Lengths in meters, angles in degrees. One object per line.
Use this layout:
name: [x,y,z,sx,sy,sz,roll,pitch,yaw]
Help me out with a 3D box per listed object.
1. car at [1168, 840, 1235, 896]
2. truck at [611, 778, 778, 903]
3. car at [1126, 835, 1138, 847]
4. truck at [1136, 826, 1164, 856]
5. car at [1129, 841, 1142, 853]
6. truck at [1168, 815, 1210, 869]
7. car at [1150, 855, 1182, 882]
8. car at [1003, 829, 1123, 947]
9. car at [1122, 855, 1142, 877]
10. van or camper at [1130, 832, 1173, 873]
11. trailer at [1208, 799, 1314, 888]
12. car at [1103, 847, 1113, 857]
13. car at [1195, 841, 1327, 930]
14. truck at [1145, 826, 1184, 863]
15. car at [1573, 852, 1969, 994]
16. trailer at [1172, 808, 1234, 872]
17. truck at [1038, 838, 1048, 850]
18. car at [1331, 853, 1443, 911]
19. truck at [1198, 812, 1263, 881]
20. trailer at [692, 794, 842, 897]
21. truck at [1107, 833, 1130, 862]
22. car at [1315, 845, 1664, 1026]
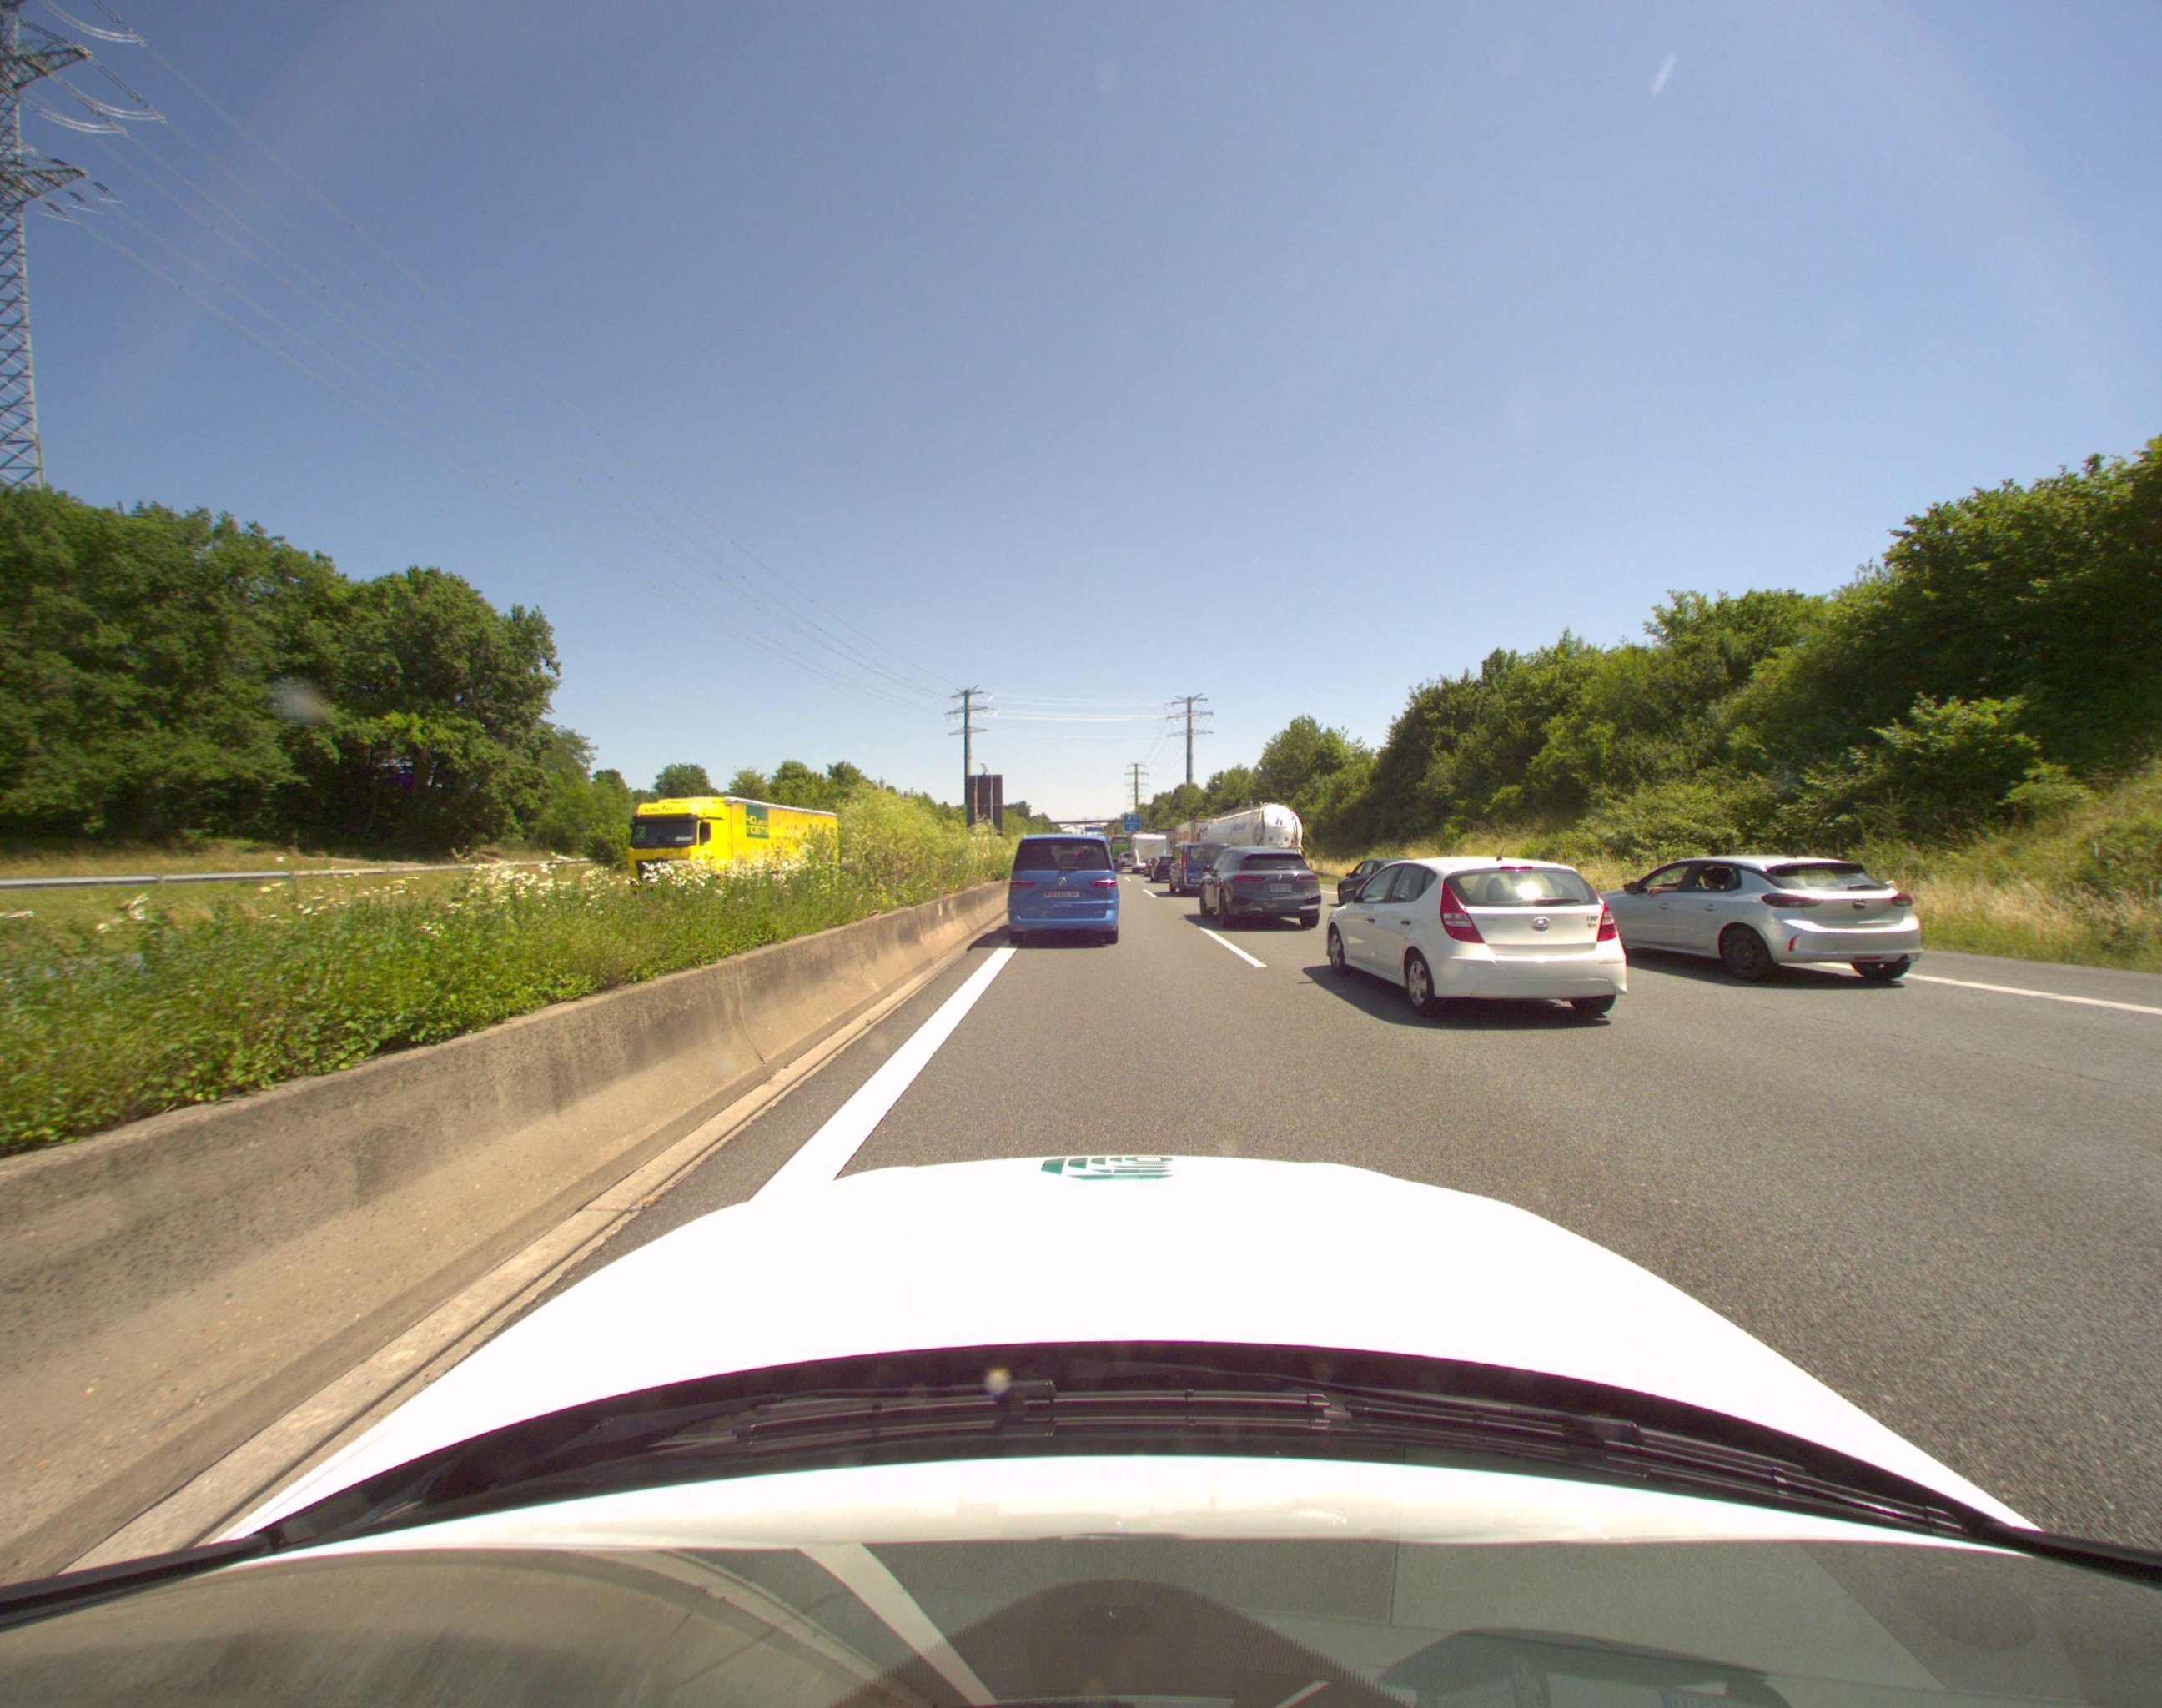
car: [4.482,0.513,30.900,1.917,1.925,4.236,-2,-1,1]
truck: [-14.590,-0.407,31.568,2.768,4.237,7.325,1,-1,1]
car: [9.098,-2.286,145.422,1.987,2.014,4.000,0,-1,0]
truck: [9.447,-1.711,112.911,2.885,3.766,13.347,0,0,1]
car: [9.160,-1.170,136.603,1.987,2.014,4.000,0,-1,0]
truck: [9.243,-0.969,70.432,2.903,4.469,5.141,-1,0,0]
car: [4.665,0.801,45.004,1.355,1.420,3.885,-2,-1,1]
car: [-0.276,0.549,15.216,1.914,1.886,4.000,1,0,0]
car: [4.958,1.186,79.746,1.829,1.998,4.001,-2,-1,2]
van or camper: [5.465,-0.064,64.313,2.946,3.022,7.105,0,-1,2]
trailer: [8.761,-0.432,41.252,2.752,3.845,11.483,-1,0,0]
car: [6.019,-0.364,180.736,1.987,2.126,3.999,0,-1,0]
car: [3.845,0.644,18.285,1.992,1.715,4.626,-1,-1,1]
truck: [9.046,-0.878,90.328,2.995,3.766,15.715,0,0,1]
car: [8.438,0.712,10.532,1.725,1.443,4.028,-1,0,0]
trailer: [9.242,-0.988,63.252,2.903,4.469,12.151,-1,0,0]
truck: [-11.850,-3.106,254.244,3.062,3.709,5.462,-1,0,0]
car: [8.405,0.737,22.713,1.635,1.416,3.989,-2,-1,1]
truck: [8.750,-0.410,48.344,2.784,3.836,5.571,-1,0,0]
trailer: [-14.489,-0.289,38.882,2.812,4.207,10.685,1,-1,1]
truck: [5.061,-0.821,111.621,2.885,3.766,10.142,0,-1,1]
car: [3.986,0.712,8.816,1.810,1.485,4.000,-1,-1,1]
